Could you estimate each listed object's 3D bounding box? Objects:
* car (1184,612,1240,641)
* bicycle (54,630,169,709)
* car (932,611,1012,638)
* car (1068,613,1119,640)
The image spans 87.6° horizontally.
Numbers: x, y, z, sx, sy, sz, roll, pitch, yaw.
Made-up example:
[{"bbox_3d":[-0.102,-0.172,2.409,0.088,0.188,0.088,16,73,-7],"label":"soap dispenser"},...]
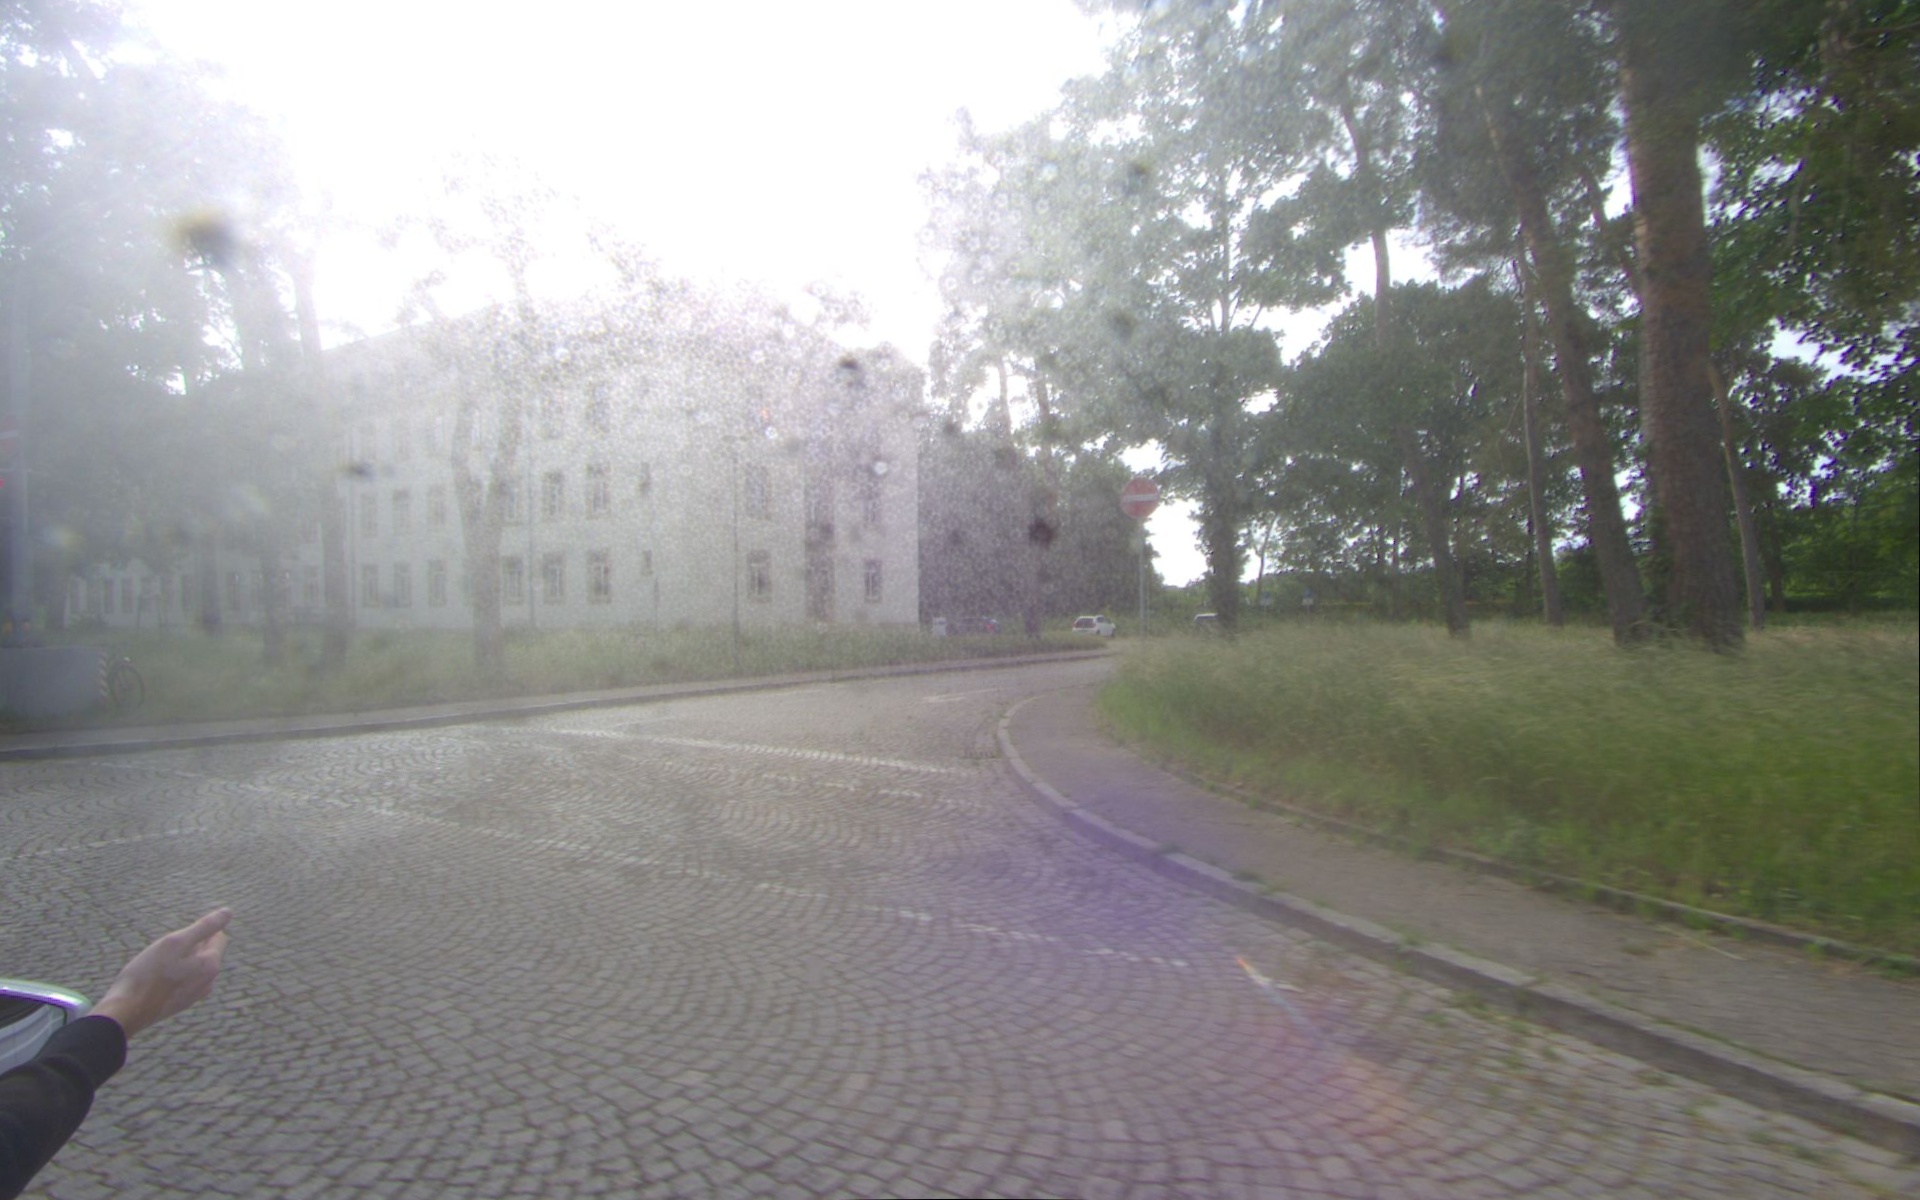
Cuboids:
[{"bbox_3d":[14.184,1.447,56.236,1.971,1.553,3.979,-1,-1,32],"label":"car"},{"bbox_3d":[-12.722,1.020,15.004,1.805,1.077,0.643,-1,3,28],"label":"bicycle"},{"bbox_3d":[0.696,1.447,59.791,4.384,1.607,1.991,-1,0,30],"label":"car"},{"bbox_3d":[8.147,1.573,60.807,1.748,1.553,3.675,0,-1,32],"label":"car"}]
